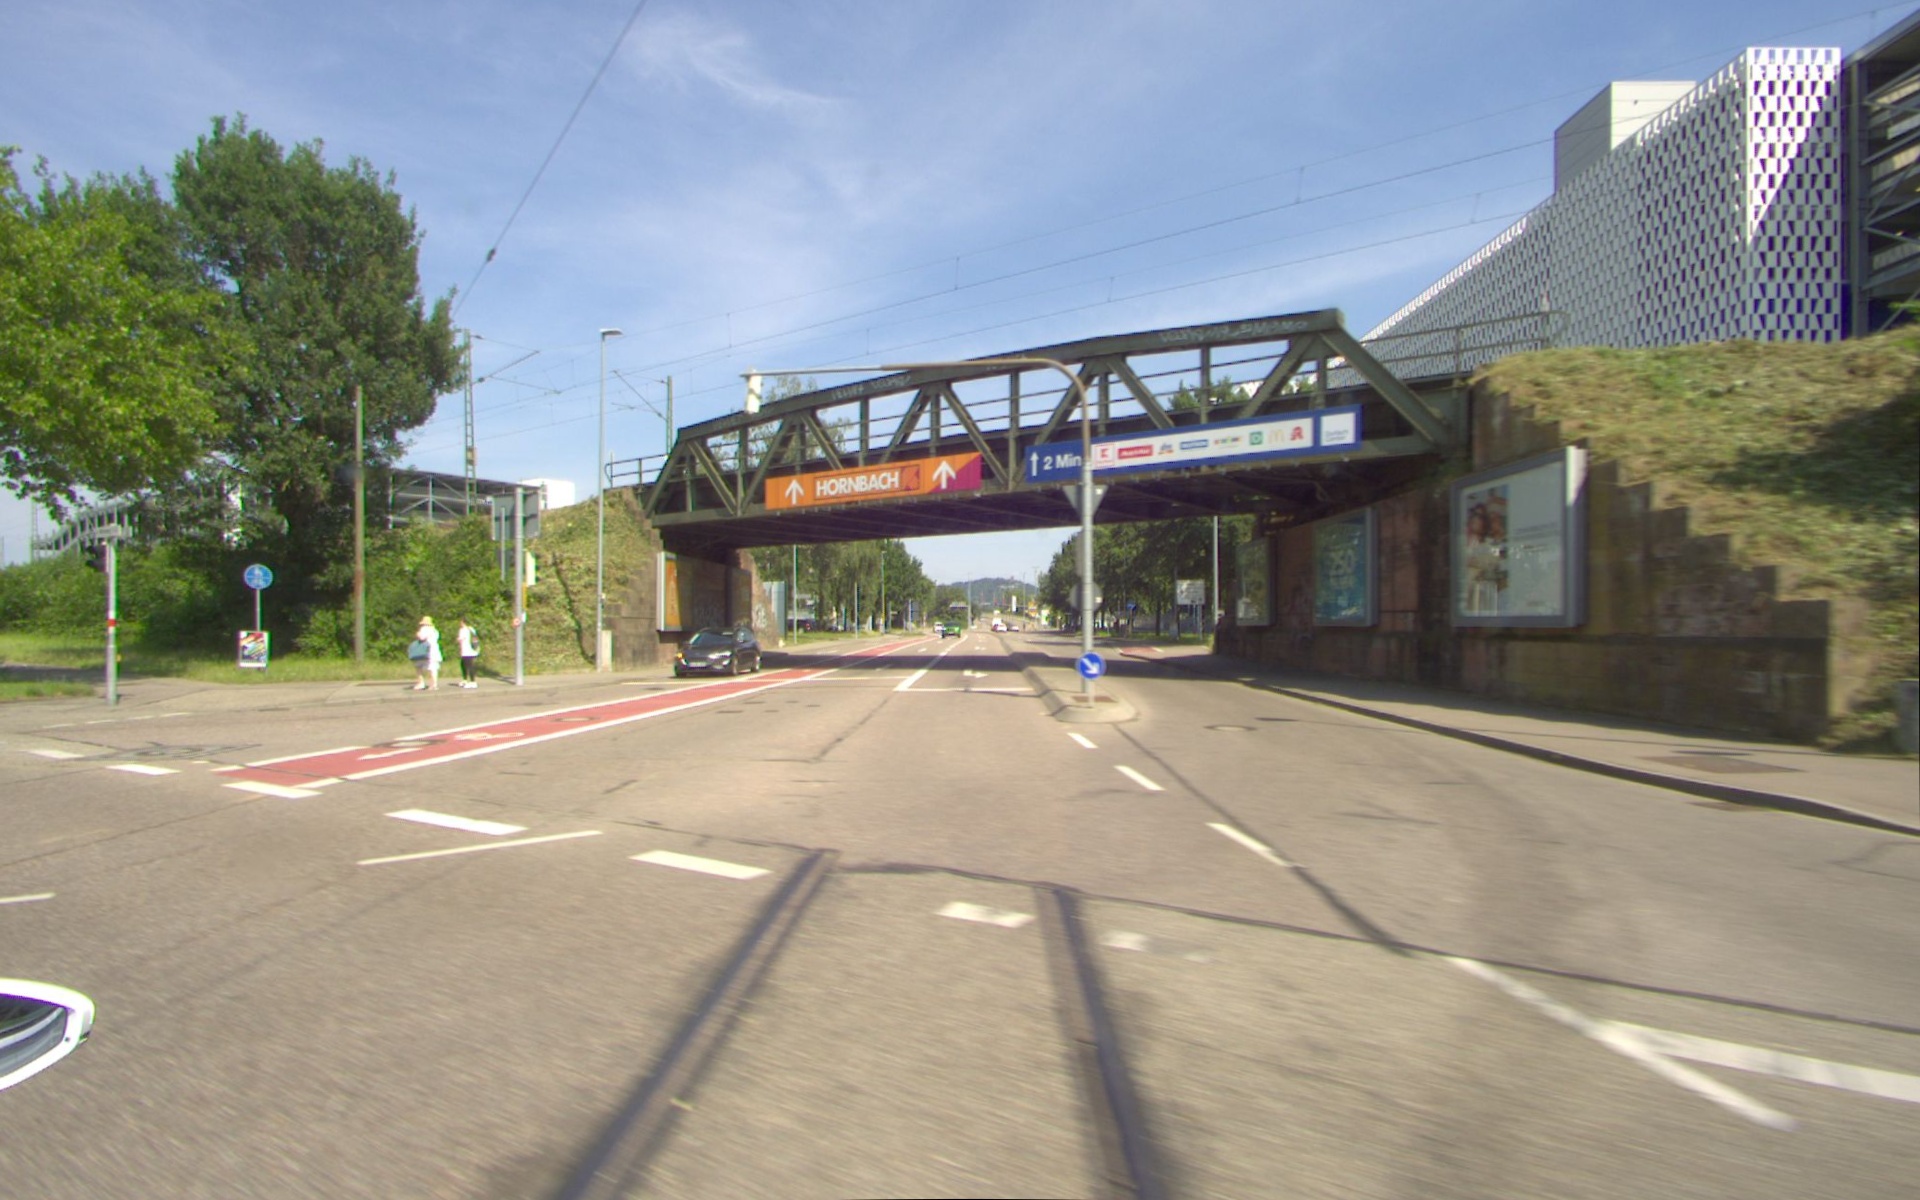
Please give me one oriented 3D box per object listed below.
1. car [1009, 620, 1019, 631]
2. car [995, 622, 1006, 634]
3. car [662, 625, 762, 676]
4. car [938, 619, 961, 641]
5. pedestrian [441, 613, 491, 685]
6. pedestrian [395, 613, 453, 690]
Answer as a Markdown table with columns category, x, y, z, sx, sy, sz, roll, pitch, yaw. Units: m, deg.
| category | x | y | z | sx | sy | sz | roll | pitch | yaw |
| --- | --- | --- | --- | --- | --- | --- | --- | --- | --- |
| car | 10.503 | 4.935 | 195.468 | 1.961 | 2.039 | 4.001 | 0 | -1 | 2 |
| car | 6.932 | 4.736 | 171.700 | 1.961 | 2.039 | 4.001 | 0 | -1 | 2 |
| car | -7.474 | 1.484 | 30.628 | 1.961 | 1.427 | 4.502 | 1 | -1 | -1 |
| car | -1.000 | 2.857 | 96.283 | 1.961 | 2.039 | 4.001 | 0 | -1 | 2 |
| pedestrian | -11.187 | 1.104 | 22.694 | 0.767 | 1.600 | 0.727 | 0 | -1 | 35 |
| pedestrian | -11.746 | 1.110 | 21.948 | 0.767 | 1.632 | 0.865 | 0 | -1 | 35 |
